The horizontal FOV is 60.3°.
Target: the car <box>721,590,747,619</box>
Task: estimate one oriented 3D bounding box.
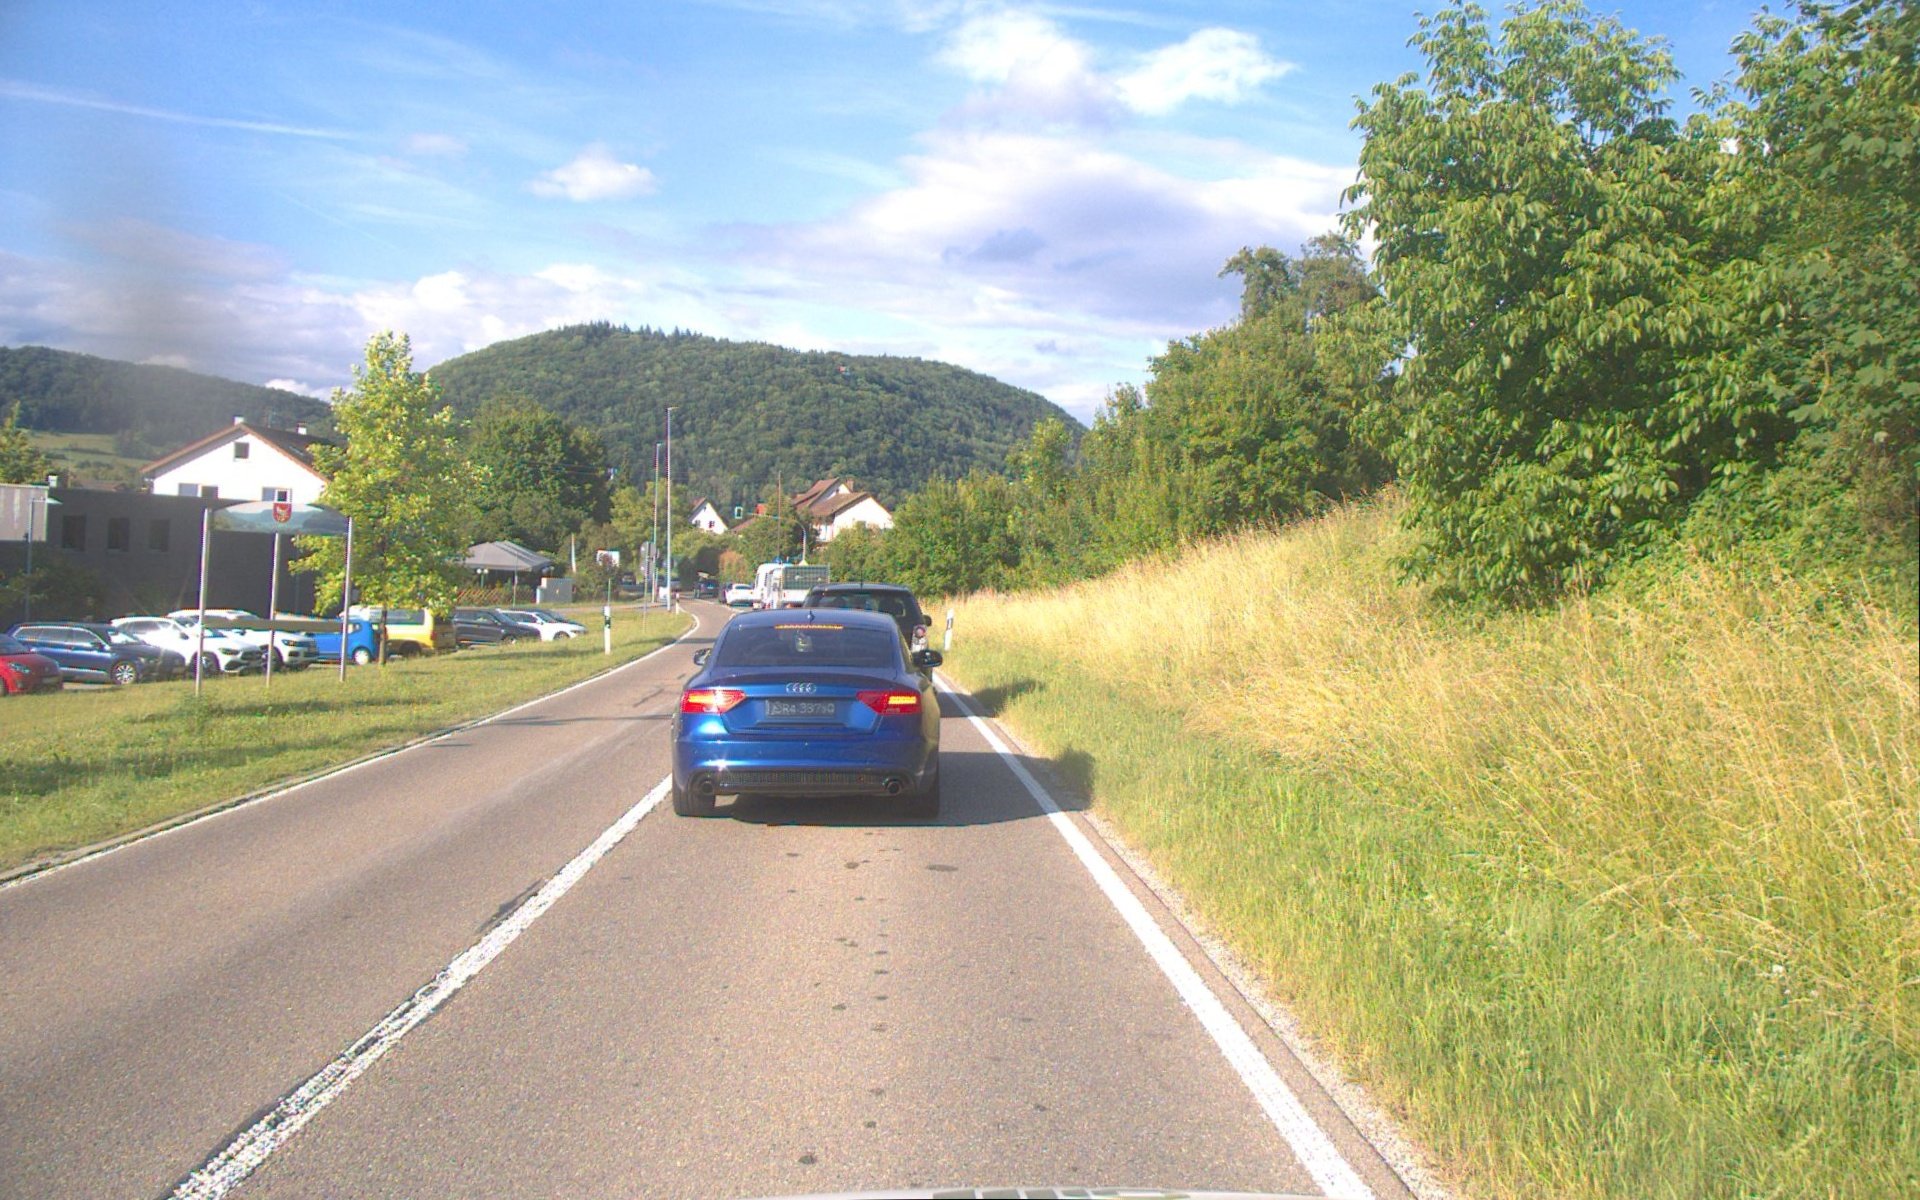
[{"bbox_3d":[-15.930,0.307,116.363,1.630,1.958,3.989,0,0,-11],"label":"car"}]

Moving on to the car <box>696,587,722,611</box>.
[{"bbox_3d":[-21.081,-0.101,138.872,1.650,1.958,3.982,0,0,-16],"label":"car"}]

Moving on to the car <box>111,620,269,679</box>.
[{"bbox_3d":[-20.988,1.336,45.140,3.588,1.520,1.598,0,1,7],"label":"car"}]

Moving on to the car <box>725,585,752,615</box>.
[{"bbox_3d":[-14.595,0.013,108.945,1.629,1.958,3.990,0,0,-10],"label":"car"}]

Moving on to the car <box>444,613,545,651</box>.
[{"bbox_3d":[-18.820,1.280,66.930,3.633,1.465,1.510,-1,0,7],"label":"car"}]

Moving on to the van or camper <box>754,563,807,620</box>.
[{"bbox_3d":[-9.031,-0.393,82.999,2.239,2.761,5.753,0,0,-10],"label":"van or camper"}]

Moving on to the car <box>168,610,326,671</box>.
[{"bbox_3d":[-20.899,1.170,48.561,3.990,1.702,1.598,-1,0,7],"label":"car"}]

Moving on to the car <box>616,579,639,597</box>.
[{"bbox_3d":[-36.587,-1.289,181.938,1.927,1.958,3.975,-1,0,-21],"label":"car"}]

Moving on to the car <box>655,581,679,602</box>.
[{"bbox_3d":[-27.737,-0.806,156.712,1.652,1.958,3.978,0,0,-19],"label":"car"}]

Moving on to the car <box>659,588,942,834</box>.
[{"bbox_3d":[-1.041,0.682,11.895,1.707,1.476,3.515,-1,0,-2],"label":"car"}]

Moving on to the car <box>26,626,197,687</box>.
[{"bbox_3d":[-21.481,1.424,41.945,3.547,1.429,1.598,0,2,7],"label":"car"}]

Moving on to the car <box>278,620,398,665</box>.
[{"bbox_3d":[-20.444,1.392,54.477,3.300,1.397,1.660,-1,0,0],"label":"car"}]

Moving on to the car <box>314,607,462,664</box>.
[{"bbox_3d":[-19.686,1.212,57.010,4.456,1.846,1.842,-1,0,7],"label":"car"}]

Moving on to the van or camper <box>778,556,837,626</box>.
[{"bbox_3d":[-5.910,-0.324,63.470,2.013,2.549,5.801,0,0,-8],"label":"van or camper"}]

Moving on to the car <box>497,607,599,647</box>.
[{"bbox_3d":[-17.798,1.162,71.487,3.949,1.689,1.657,-1,0,7],"label":"car"}]

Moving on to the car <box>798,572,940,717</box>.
[{"bbox_3d":[-1.210,0.520,21.139,1.613,1.653,3.513,2,0,-5],"label":"car"}]

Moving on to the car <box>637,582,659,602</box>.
[{"bbox_3d":[-31.596,-0.831,167.407,1.652,1.958,3.976,0,0,-20],"label":"car"}]

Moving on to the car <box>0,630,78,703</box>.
[{"bbox_3d":[-21.884,1.435,36.956,3.547,1.469,1.650,1,1,7],"label":"car"}]
